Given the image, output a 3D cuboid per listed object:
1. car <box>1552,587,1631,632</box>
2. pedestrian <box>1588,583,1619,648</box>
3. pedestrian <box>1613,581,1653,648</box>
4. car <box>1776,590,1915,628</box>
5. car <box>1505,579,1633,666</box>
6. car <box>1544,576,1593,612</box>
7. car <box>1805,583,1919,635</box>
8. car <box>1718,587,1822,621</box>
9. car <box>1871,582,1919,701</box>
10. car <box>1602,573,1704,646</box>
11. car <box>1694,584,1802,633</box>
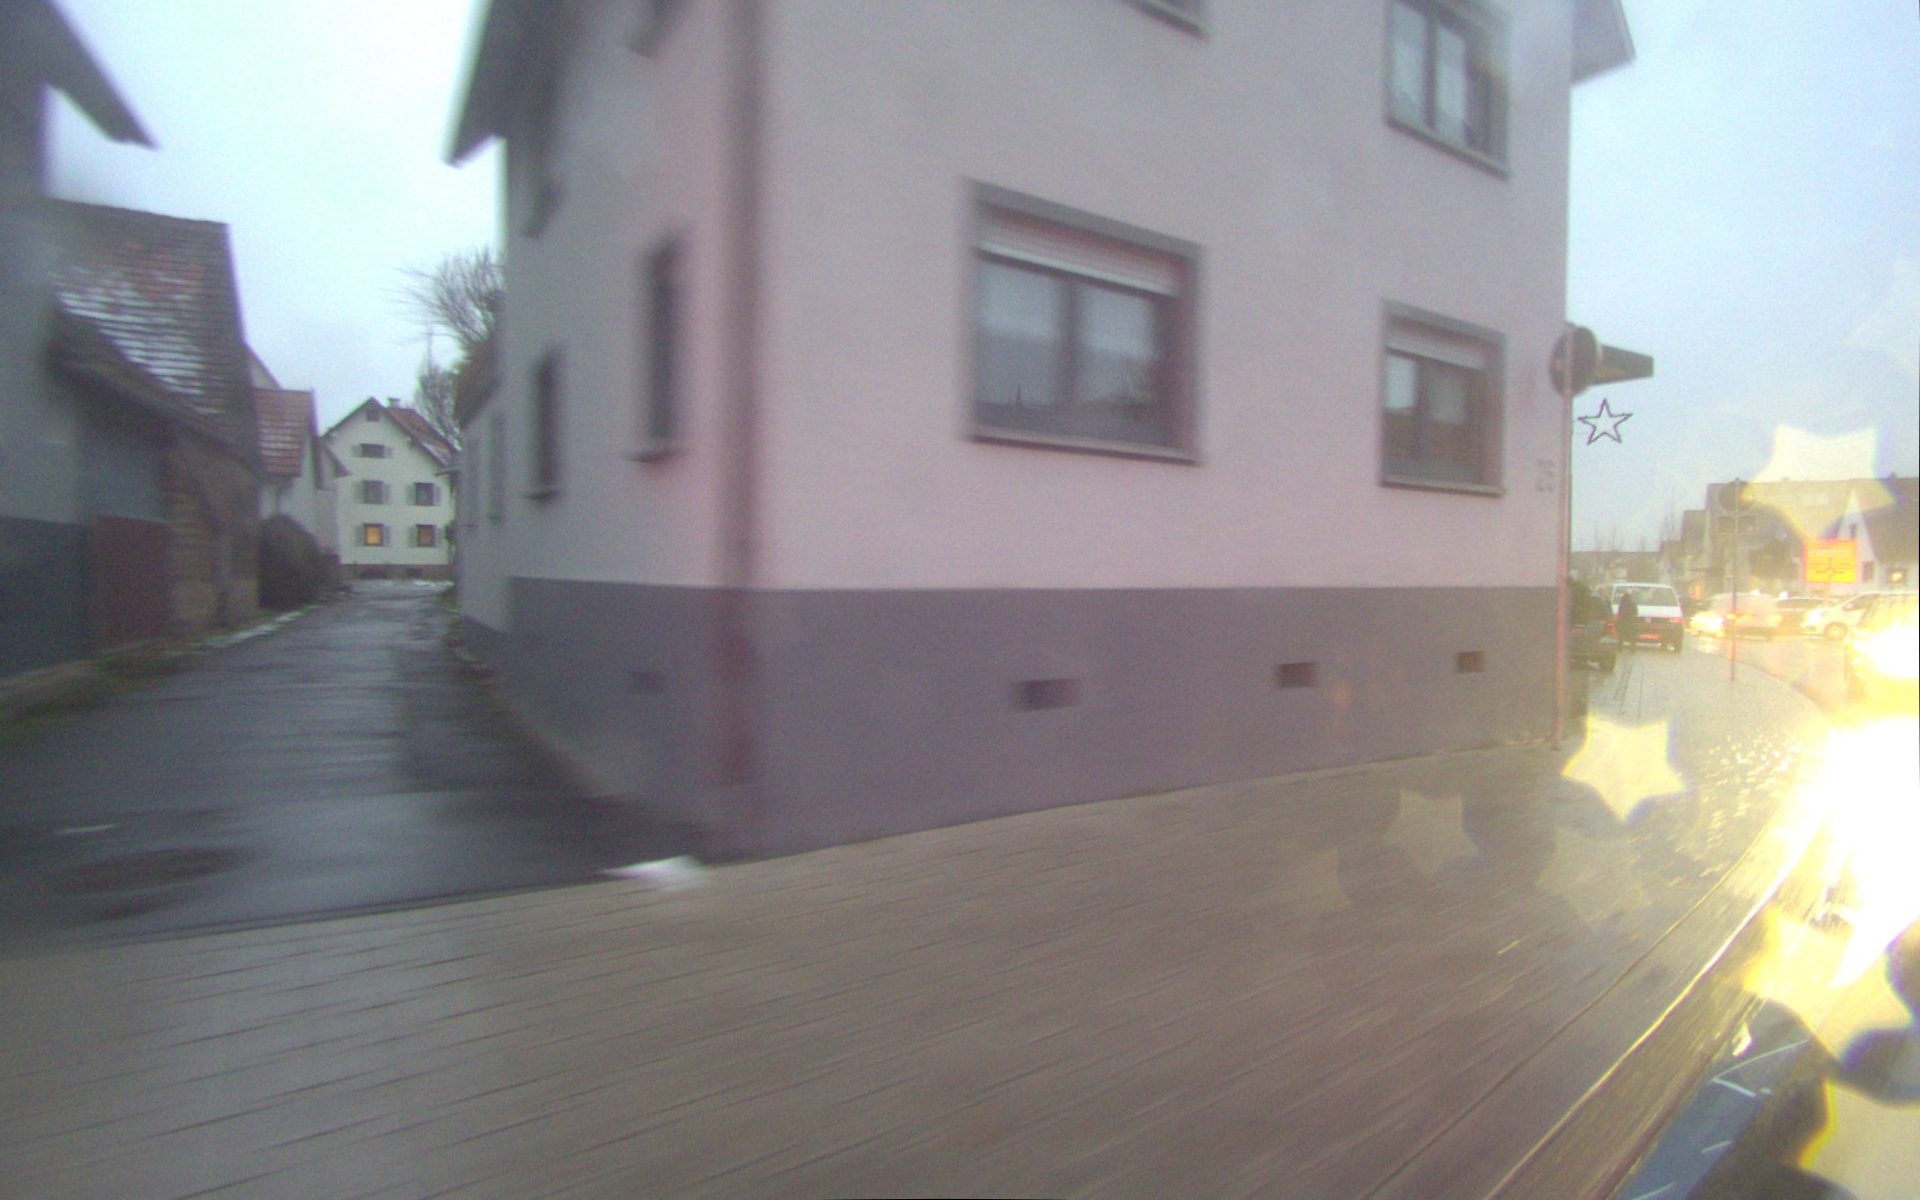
[{"bbox_3d":[25.860,0.346,41.611,1.958,1.681,4.427,2,1,22],"label":"car"},{"bbox_3d":[17.334,0.400,27.282,0.575,1.690,0.784,2,1,27],"label":"pedestrian"},{"bbox_3d":[18.001,0.372,27.080,0.708,1.720,0.798,2,1,24],"label":"pedestrian"},{"bbox_3d":[44.280,0.415,50.756,4.829,1.705,1.983,2,0,24],"label":"car"},{"bbox_3d":[12.610,0.409,21.170,1.720,1.580,3.635,2,1,23],"label":"car"},{"bbox_3d":[44.858,-0.437,74.750,2.177,2.522,6.096,1,1,22],"label":"car"},{"bbox_3d":[36.576,0.336,39.181,5.744,1.971,1.965,0,-1,36],"label":"car"},{"bbox_3d":[47.804,0.209,59.840,4.376,1.824,1.831,2,1,22],"label":"car"},{"bbox_3d":[15.698,0.590,15.502,4.982,1.663,2.266,0,1,-44],"label":"car"},{"bbox_3d":[20.962,0.251,30.803,1.961,1.984,4.804,2,1,28],"label":"car"},{"bbox_3d":[32.232,0.275,41.555,1.927,1.771,4.821,3,2,19],"label":"car"}]
